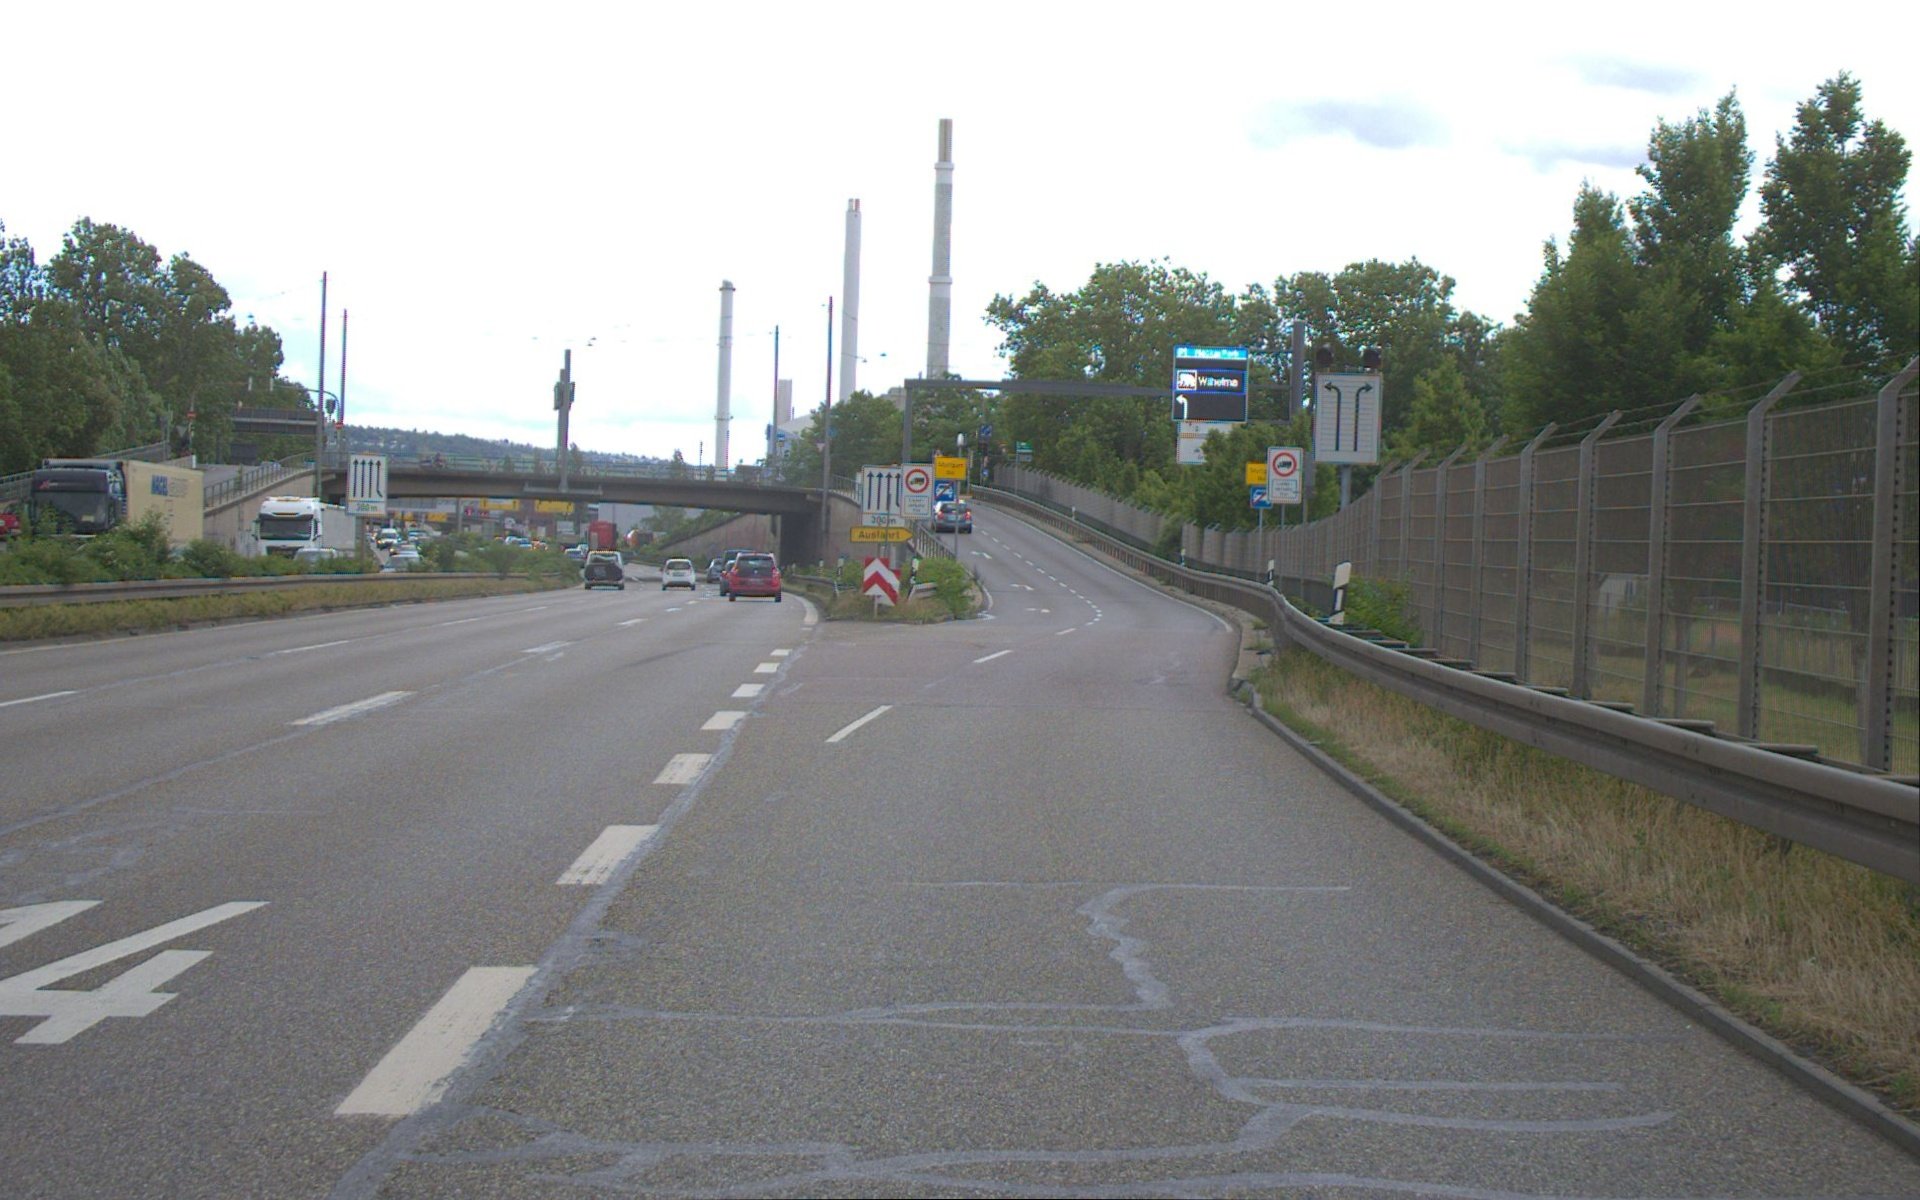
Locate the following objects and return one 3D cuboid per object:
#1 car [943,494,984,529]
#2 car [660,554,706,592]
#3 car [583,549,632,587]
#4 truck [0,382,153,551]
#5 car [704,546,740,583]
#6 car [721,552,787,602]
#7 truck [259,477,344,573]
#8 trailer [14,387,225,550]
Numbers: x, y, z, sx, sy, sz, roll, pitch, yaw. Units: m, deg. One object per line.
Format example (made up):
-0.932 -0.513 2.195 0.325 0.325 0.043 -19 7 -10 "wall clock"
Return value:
0.192 -4.279 166.467 1.750 1.575 4.085 3 1 2 "car"
-13.502 -1.344 167.744 1.993 1.678 4.001 2 2 -2 "car"
-17.232 -1.562 168.134 1.993 1.678 4.001 2 2 -2 "car"
-25.911 -3.837 100.028 3.463 4.657 6.212 2 1 -2 "truck"
-14.214 -2.143 204.856 1.918 2.006 4.001 2 2 -6 "car"
-6.565 -0.743 109.213 1.993 1.415 4.001 2 2 -4 "car"
-28.293 -3.190 147.923 2.789 3.923 5.313 2 0 -4 "truck"
-26.238 -3.995 108.256 3.463 4.657 14.784 2 1 -2 "trailer"
